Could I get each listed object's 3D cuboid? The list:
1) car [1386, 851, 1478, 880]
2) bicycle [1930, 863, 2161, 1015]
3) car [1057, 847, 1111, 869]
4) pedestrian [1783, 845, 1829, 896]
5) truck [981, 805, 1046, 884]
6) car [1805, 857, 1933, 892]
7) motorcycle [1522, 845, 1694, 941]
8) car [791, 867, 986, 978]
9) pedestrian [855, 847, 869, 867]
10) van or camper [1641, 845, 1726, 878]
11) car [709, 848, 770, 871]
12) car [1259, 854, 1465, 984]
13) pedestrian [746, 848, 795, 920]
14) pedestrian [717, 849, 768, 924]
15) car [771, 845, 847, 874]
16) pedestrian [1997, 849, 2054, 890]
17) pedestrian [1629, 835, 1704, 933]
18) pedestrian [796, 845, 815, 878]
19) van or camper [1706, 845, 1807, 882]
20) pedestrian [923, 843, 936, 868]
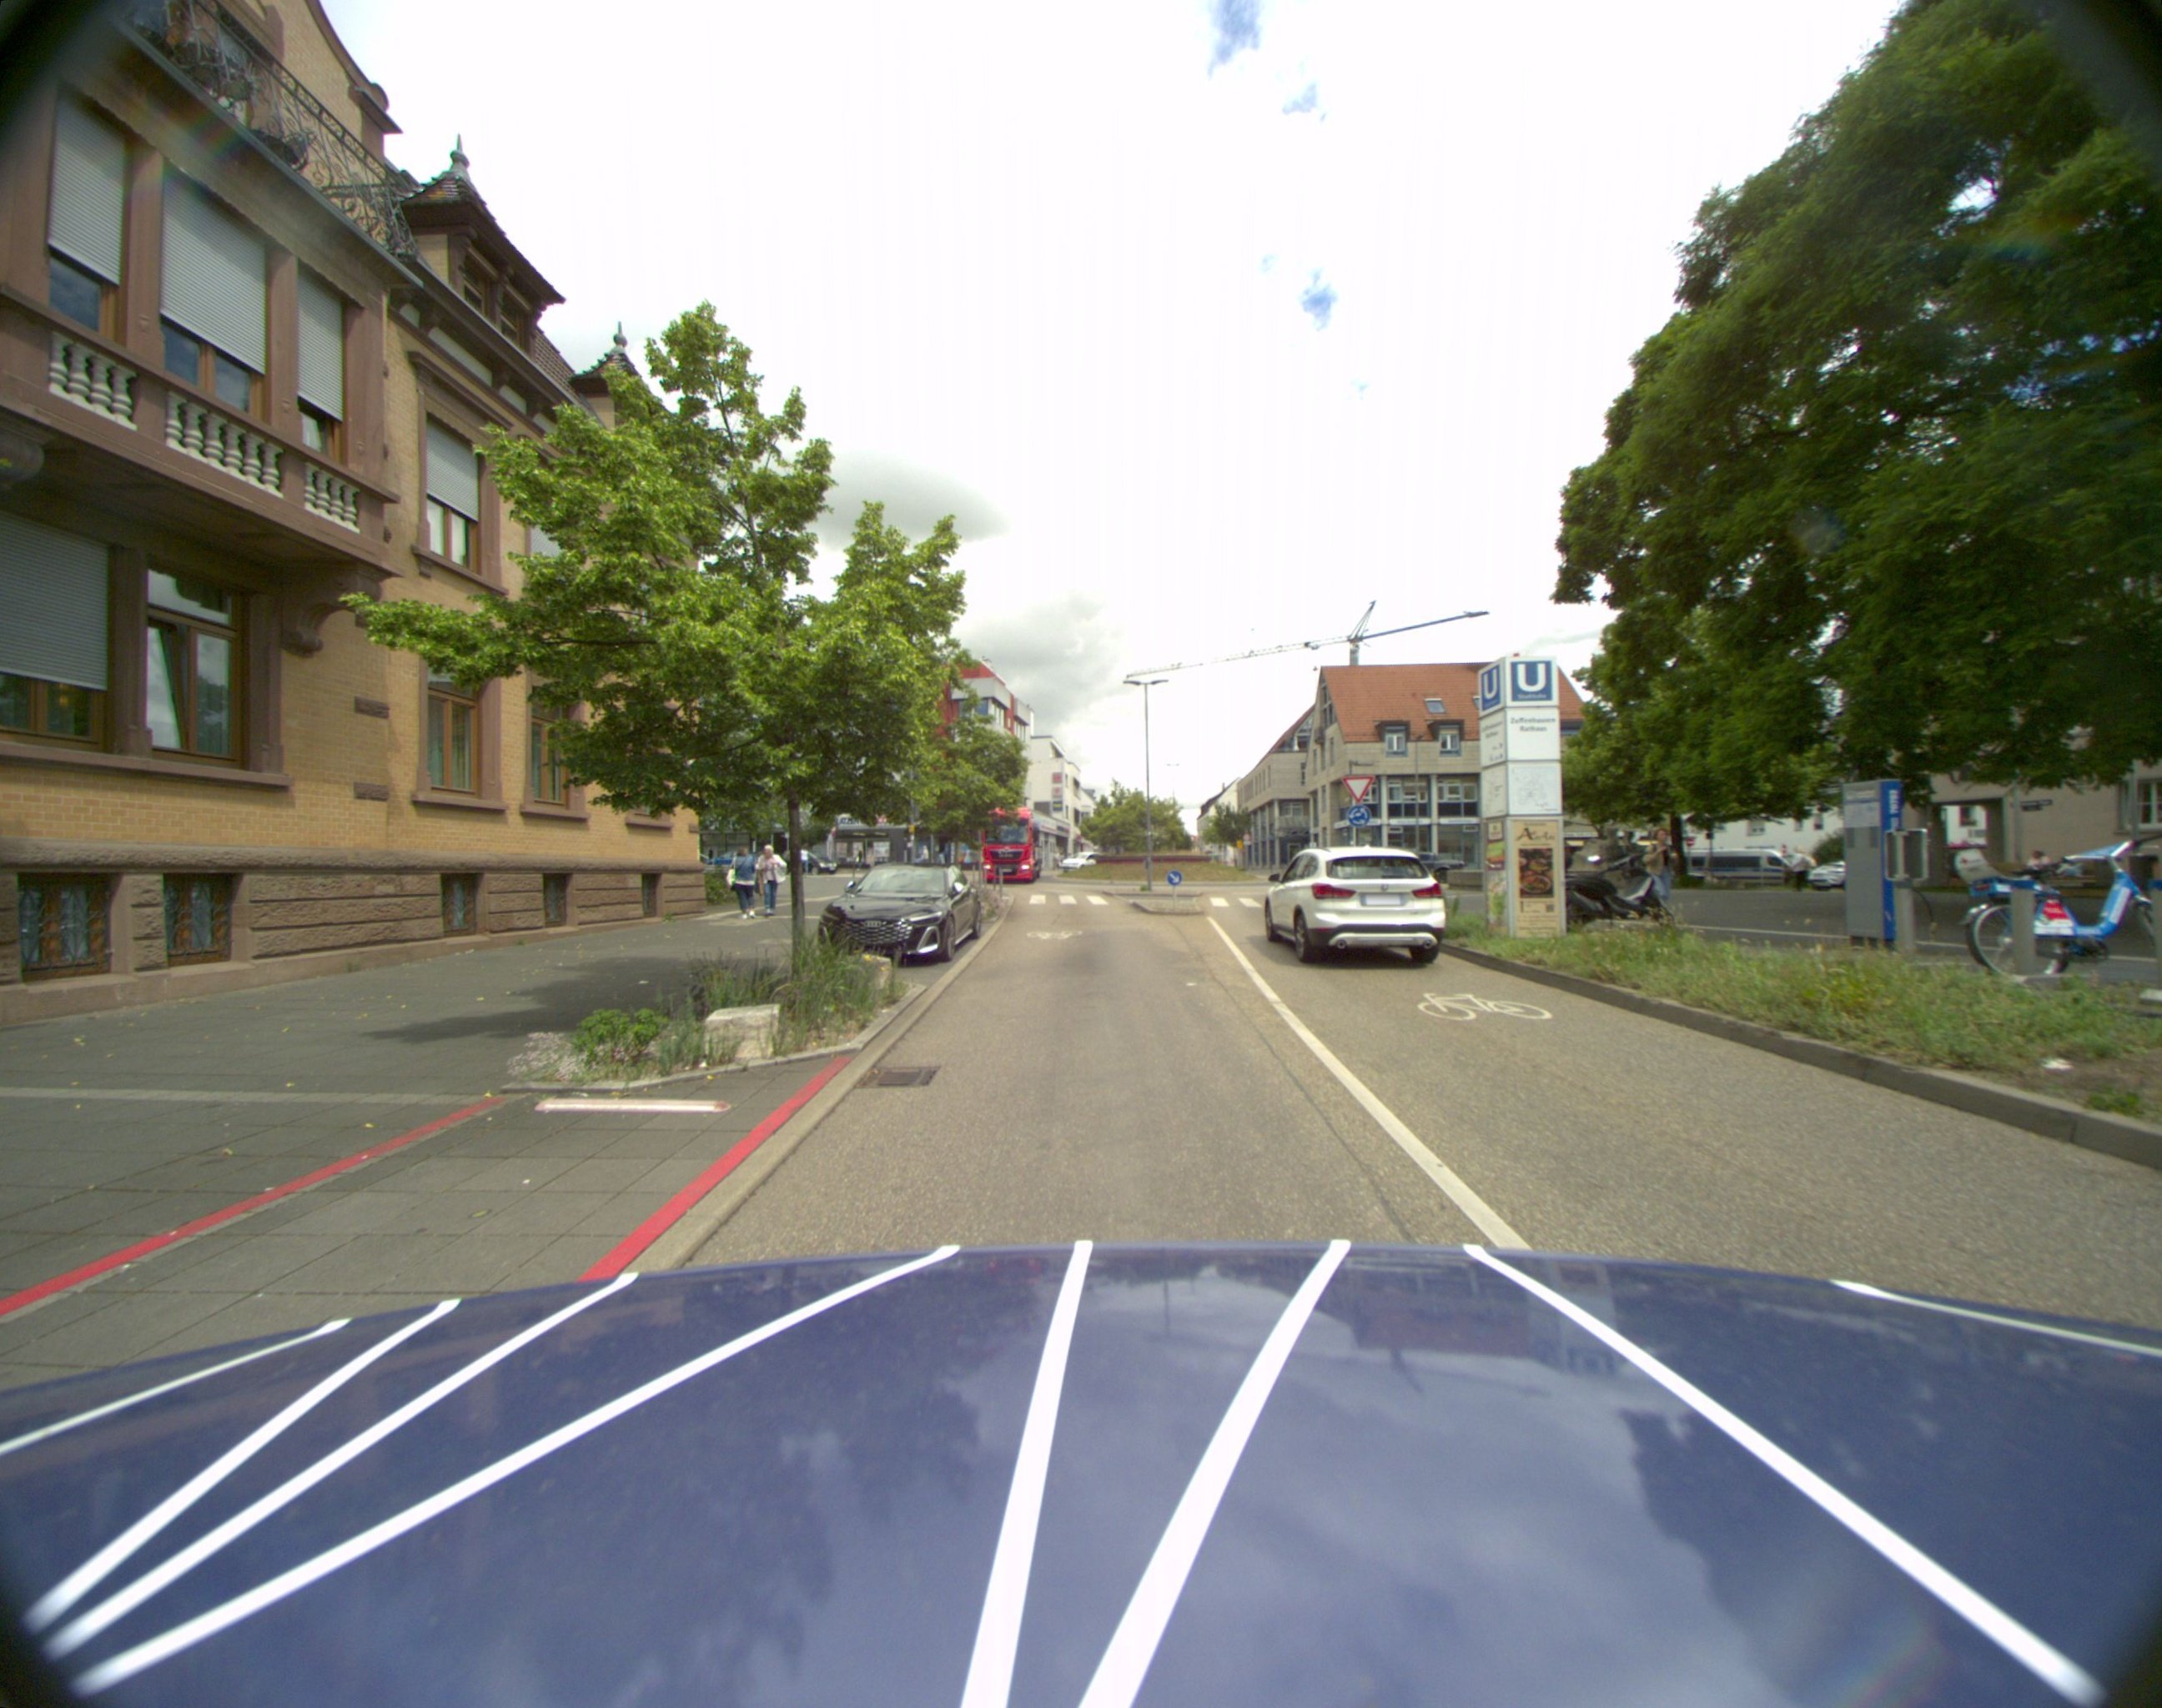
[{"bbox_3d":[21.131,0.688,45.902,4.881,1.644,1.749,-1,1,19],"label":"car"},{"bbox_3d":[7.512,0.614,5.736,1.691,1.075,0.515,0,-2,-4],"label":"bicycle"},{"bbox_3d":[0.262,0.284,55.072,1.811,1.391,4.061,-1,1,37],"label":"car"},{"bbox_3d":[24.306,0.556,25.472,0.690,1.665,0.817,-1,-1,-3],"label":"pedestrian"},{"bbox_3d":[-3.567,-0.566,42.698,2.681,3.821,10.845,-2,1,-1],"label":"truck"},{"bbox_3d":[37.907,0.993,36.650,4.070,1.530,1.747,-1,1,8],"label":"car"},{"bbox_3d":[8.106,0.582,11.737,2.194,1.441,0.648,0,1,-1],"label":"motorcycle"},{"bbox_3d":[-2.888,0.960,12.627,1.998,1.405,4.736,0,0,0],"label":"car"},{"bbox_3d":[-17.350,0.257,60.217,0.684,1.574,0.767,-1,1,9],"label":"pedestrian"},{"bbox_3d":[45.510,0.549,57.539,2.002,2.368,4.666,-1,0,-24],"label":"van or camper"},{"bbox_3d":[-25.972,0.416,57.887,3.825,1.554,1.820,-1,1,10],"label":"car"},{"bbox_3d":[3.958,0.813,11.495,1.826,1.575,4.166,-1,0,4],"label":"car"},{"bbox_3d":[-7.292,0.697,17.873,0.697,1.649,0.741,-1,1,11],"label":"pedestrian"},{"bbox_3d":[-7.595,0.723,17.063,0.738,1.630,0.676,-1,2,25],"label":"pedestrian"},{"bbox_3d":[-17.323,0.352,48.461,3.995,1.641,2.001,-2,0,6],"label":"car"},{"bbox_3d":[27.806,0.447,22.379,0.817,1.168,0.691,-1,-1,-4],"label":"pedestrian"},{"bbox_3d":[10.078,0.518,13.109,0.661,1.619,0.800,-1,-1,8],"label":"pedestrian"},{"bbox_3d":[-14.576,0.402,40.223,0.768,1.721,0.751,-3,2,-32],"label":"pedestrian"},{"bbox_3d":[45.506,0.617,51.330,2.002,2.368,4.666,-1,0,-24],"label":"van or camper"},{"bbox_3d":[-11.640,0.116,58.484,0.684,1.902,0.767,-1,1,9],"label":"pedestrian"}]
